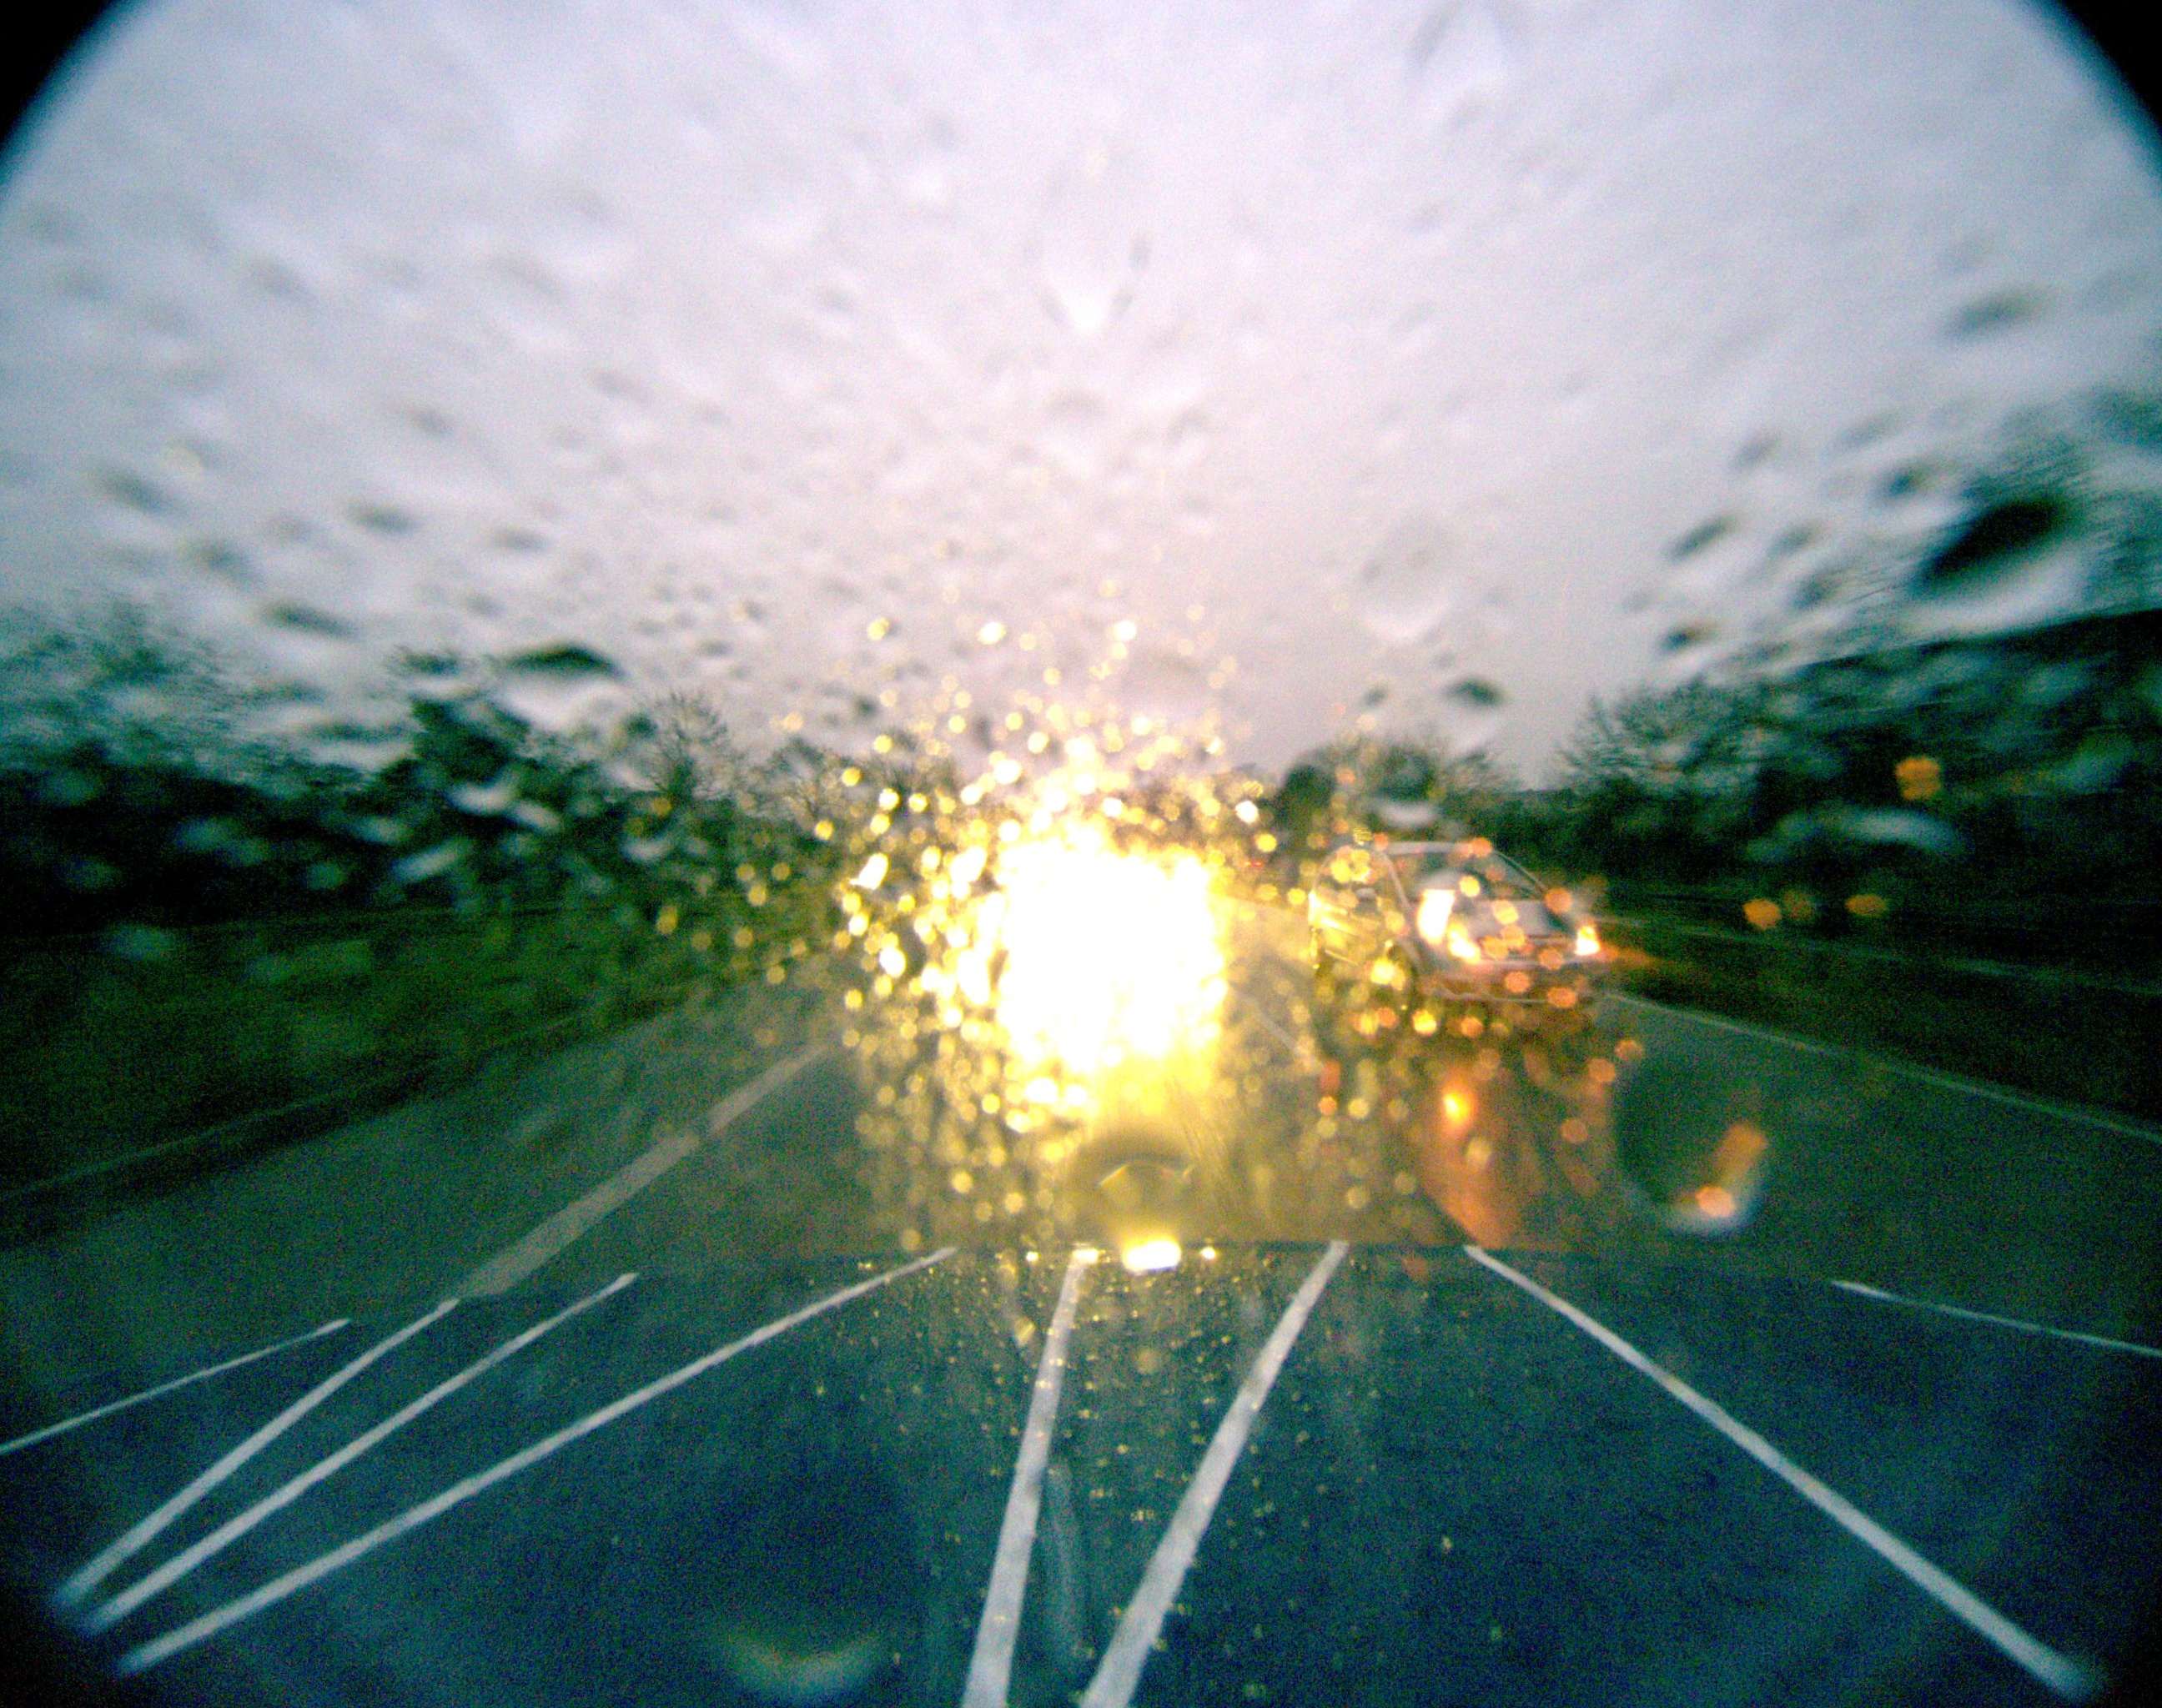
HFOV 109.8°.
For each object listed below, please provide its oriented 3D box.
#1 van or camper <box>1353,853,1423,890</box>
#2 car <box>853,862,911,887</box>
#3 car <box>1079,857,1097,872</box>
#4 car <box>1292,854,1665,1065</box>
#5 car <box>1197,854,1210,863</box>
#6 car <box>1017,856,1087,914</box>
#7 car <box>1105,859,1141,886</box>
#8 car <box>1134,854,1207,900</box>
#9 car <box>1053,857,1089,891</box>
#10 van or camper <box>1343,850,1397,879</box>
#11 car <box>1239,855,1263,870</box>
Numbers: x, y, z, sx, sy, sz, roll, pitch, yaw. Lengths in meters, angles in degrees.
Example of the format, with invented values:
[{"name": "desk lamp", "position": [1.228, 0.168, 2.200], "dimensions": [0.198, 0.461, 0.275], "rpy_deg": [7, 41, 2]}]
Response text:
[{"name": "van or camper", "position": [13.399, 0.717, 33.433], "dimensions": [1.530, 1.473, 4.435], "rpy_deg": [-1, 0, 4]}, {"name": "car", "position": [-12.887, 1.314, 49.476], "dimensions": [1.725, 1.426, 3.796], "rpy_deg": [-1, 1, 22]}, {"name": "car", "position": [0.811, 1.165, 85.745], "dimensions": [1.852, 1.610, 3.950], "rpy_deg": [-2, 1, -1]}, {"name": "car", "position": [3.686, 0.824, 8.012], "dimensions": [1.766, 1.590, 4.164], "rpy_deg": [-1, 1, 0]}, {"name": "car", "position": [23.333, 0.866, 144.459], "dimensions": [1.788, 1.599, 4.682], "rpy_deg": [-1, 1, 1]}, {"name": "car", "position": [-0.780, 0.847, 22.728], "dimensions": [1.830, 1.524, 4.000], "rpy_deg": [-1, 1, 1]}, {"name": "car", "position": [2.288, 1.007, 42.340], "dimensions": [1.697, 1.327, 3.999], "rpy_deg": [-2, 1, 0]}, {"name": "car", "position": [3.245, 0.787, 28.351], "dimensions": [2.027, 1.521, 4.144], "rpy_deg": [-1, 1, -3]}, {"name": "car", "position": [-0.466, 0.989, 39.468], "dimensions": [1.728, 1.573, 3.791], "rpy_deg": [-1, 1, 1]}, {"name": "van or camper", "position": [18.129, 0.610, 47.906], "dimensions": [1.765, 1.725, 4.884], "rpy_deg": [-1, 0, 4]}, {"name": "car", "position": [19.221, 0.971, 86.158], "dimensions": [1.788, 1.524, 4.052], "rpy_deg": [-1, 1, 0]}]
